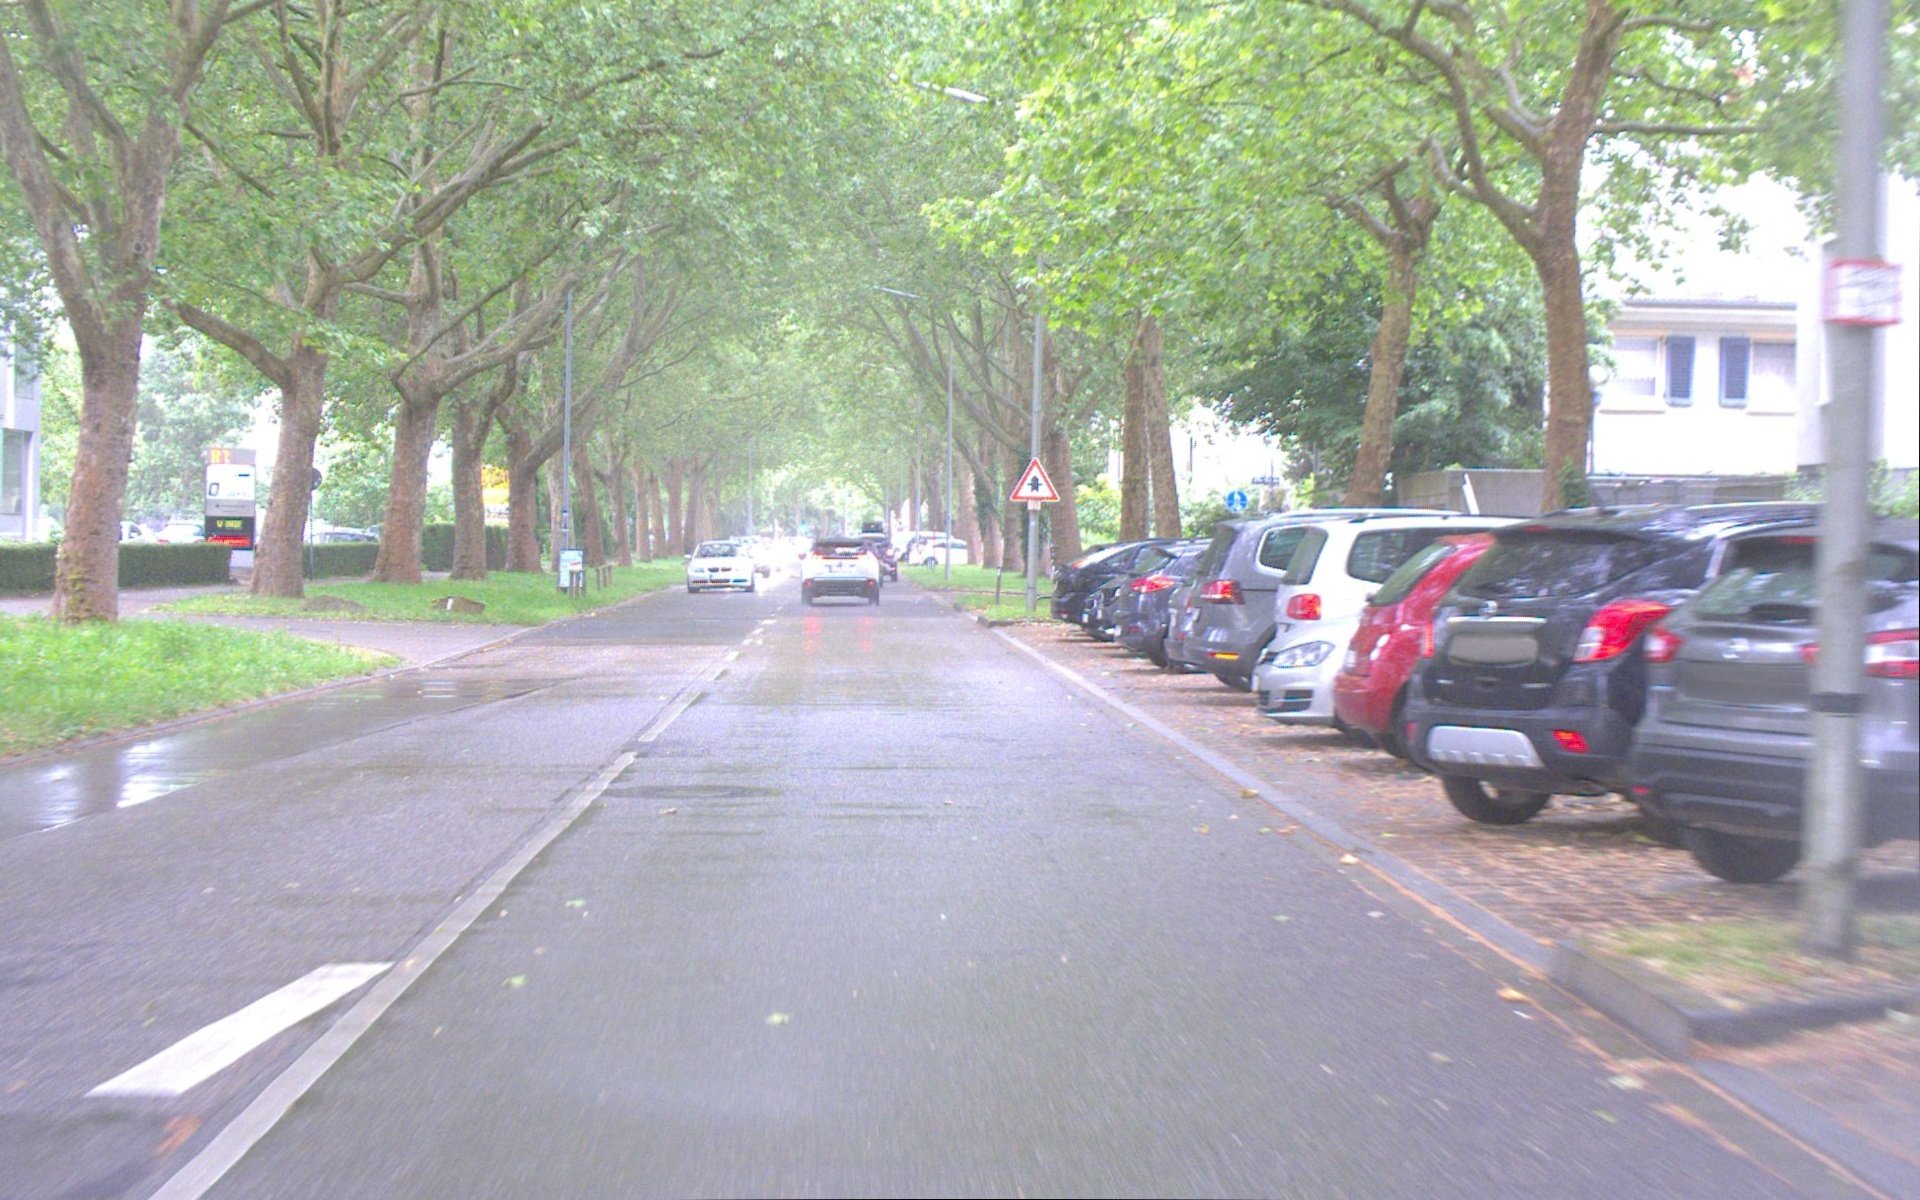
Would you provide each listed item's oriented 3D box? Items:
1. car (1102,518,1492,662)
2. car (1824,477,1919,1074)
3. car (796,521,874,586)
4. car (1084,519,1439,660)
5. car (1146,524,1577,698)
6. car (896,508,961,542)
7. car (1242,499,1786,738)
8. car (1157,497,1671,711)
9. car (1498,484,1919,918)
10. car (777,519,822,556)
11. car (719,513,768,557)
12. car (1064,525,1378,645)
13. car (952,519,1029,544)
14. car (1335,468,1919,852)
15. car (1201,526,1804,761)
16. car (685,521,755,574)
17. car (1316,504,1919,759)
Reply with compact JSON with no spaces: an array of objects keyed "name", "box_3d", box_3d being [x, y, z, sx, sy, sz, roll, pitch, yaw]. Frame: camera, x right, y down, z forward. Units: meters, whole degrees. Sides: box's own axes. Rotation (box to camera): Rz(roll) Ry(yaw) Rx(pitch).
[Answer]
[{"name":"car","box_3d":[3.690,-0.130,38.007,4.034,1.436,1.686,-1,2,-4]},{"name":"car","box_3d":[4.585,0.520,9.766,3.987,1.596,1.803,1,2,-31]},{"name":"car","box_3d":[-2.857,-1.076,78.785,1.706,1.406,3.645,-1,2,-2]},{"name":"car","box_3d":[3.755,-0.151,43.337,4.209,1.650,1.914,1,2,-2]},{"name":"car","box_3d":[3.913,0.088,33.902,3.987,1.532,1.631,2,2,-1]},{"name":"car","box_3d":[-1.799,-4.262,194.315,3.546,1.835,1.712,-1,2,-3]},{"name":"car","box_3d":[4.357,0.118,27.491,3.987,1.721,1.801,2,2,-1]},{"name":"car","box_3d":[4.047,0.011,31.147,4.337,1.756,1.819,2,2,-1]},{"name":"car","box_3d":[4.549,0.376,14.664,3.986,1.596,2.036,1,2,-29]},{"name":"car","box_3d":[-6.357,-2.488,136.592,1.706,1.406,3.645,-1,2,-2]},{"name":"car","box_3d":[-8.461,-2.562,134.632,1.809,1.678,4.449,-1,2,-2]},{"name":"car","box_3d":[3.528,-0.219,46.931,4.041,1.525,1.781,1,2,-4]},{"name":"car","box_3d":[1.472,-3.310,166.476,3.546,1.151,1.712,-1,2,-4]},{"name":"car","box_3d":[4.027,0.213,17.512,3.855,1.691,1.838,-2,3,-29]},{"name":"car","box_3d":[3.871,0.290,24.981,3.986,1.507,1.801,2,2,-3]},{"name":"car","box_3d":[-6.538,-1.453,93.929,1.678,1.384,4.550,0,2,-1]},{"name":"car","box_3d":[4.233,0.172,22.199,3.703,1.531,1.738,-1,1,2]}]
